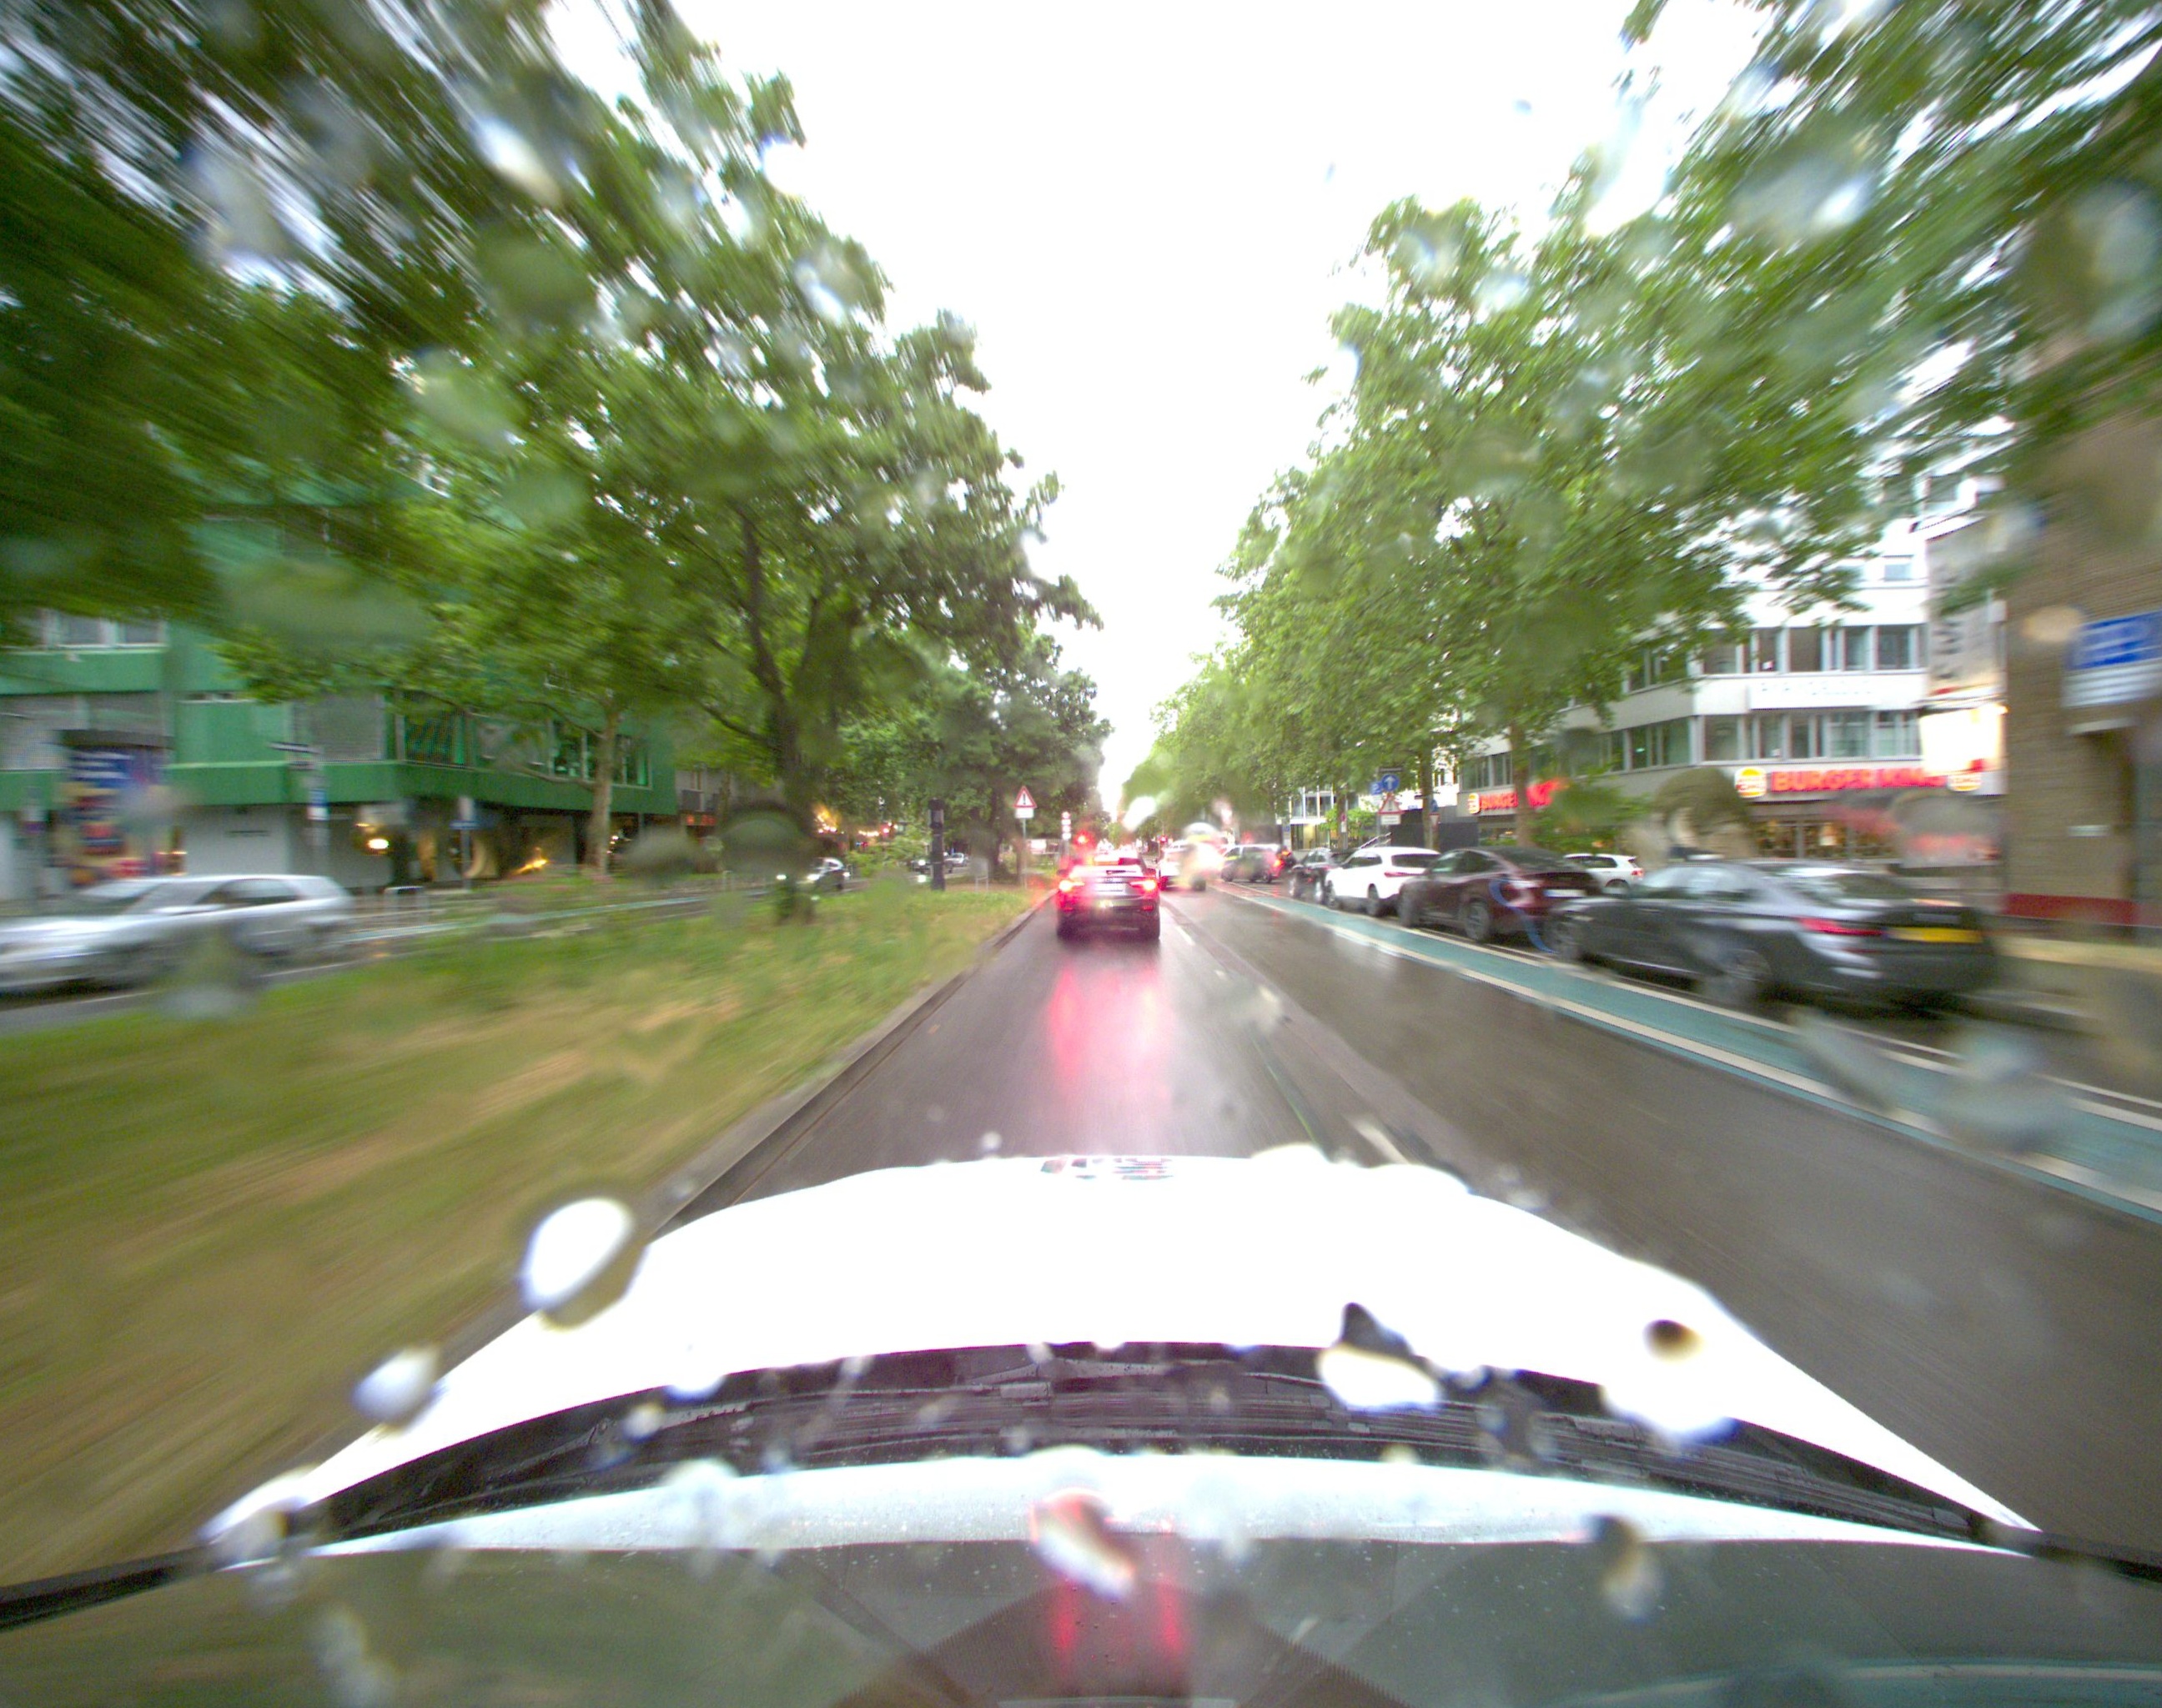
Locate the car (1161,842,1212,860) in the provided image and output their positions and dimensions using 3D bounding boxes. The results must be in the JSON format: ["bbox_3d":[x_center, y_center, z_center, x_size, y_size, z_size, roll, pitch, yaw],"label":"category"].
[{"bbox_3d":[10.475,-0.303,81.163,4.595,1.706,2.012,0,0,29],"label":"car"}]

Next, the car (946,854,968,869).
[{"bbox_3d":[-13.610,0.823,89.740,1.719,1.518,4.002,0,0,2],"label":"car"}]

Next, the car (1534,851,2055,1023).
[{"bbox_3d":[7.216,0.691,9.078,1.866,1.421,4.612,0,0,1],"label":"car"}]

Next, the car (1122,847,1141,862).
[{"bbox_3d":[5.667,0.082,91.733,1.986,1.651,4.001,0,0,2],"label":"car"}]

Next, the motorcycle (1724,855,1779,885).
[{"bbox_3d":[23.553,0.554,28.615,1.421,1.030,0.620,0,-1,-1],"label":"motorcycle"}]

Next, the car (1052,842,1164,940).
[{"bbox_3d":[0.469,0.608,15.501,1.843,1.602,4.000,-1,0,0],"label":"car"}]

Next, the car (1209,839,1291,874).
[{"bbox_3d":[10.350,0.152,50.009,4.548,2.014,1.980,0,-1,39],"label":"car"}]

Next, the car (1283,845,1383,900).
[{"bbox_3d":[7.449,0.522,24.468,1.691,1.523,4.021,0,0,-2],"label":"car"}]

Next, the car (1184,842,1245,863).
[{"bbox_3d":[10.993,-0.139,67.110,4.595,1.706,2.012,0,0,29],"label":"car"}]

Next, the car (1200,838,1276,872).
[{"bbox_3d":[10.924,0.076,56.773,4.834,2.254,2.012,0,-1,30],"label":"car"}]

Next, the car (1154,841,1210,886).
[{"bbox_3d":[4.027,0.382,33.087,1.871,1.697,4.001,0,0,1],"label":"car"}]

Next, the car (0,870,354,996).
[{"bbox_3d":[-12.954,0.984,11.600,1.642,1.435,3.814,-1,0,2],"label":"car"}]

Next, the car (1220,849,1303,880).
[{"bbox_3d":[8.395,0.470,38.135,1.568,1.378,3.831,1,0,-31],"label":"car"}]

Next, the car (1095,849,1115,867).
[{"bbox_3d":[2.460,0.416,83.355,1.987,1.726,4.000,0,0,1],"label":"car"}]

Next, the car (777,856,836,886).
[{"bbox_3d":[-11.961,0.708,35.681,1.687,1.258,3.636,0,0,-7],"label":"car"}]

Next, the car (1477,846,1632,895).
[{"bbox_3d":[15.819,0.515,27.463,4.211,1.567,2.065,0,0,18],"label":"car"}]

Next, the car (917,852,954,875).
[{"bbox_3d":[-11.102,0.693,62.473,1.753,1.703,4.337,0,0,4],"label":"car"}]

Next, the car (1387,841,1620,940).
[{"bbox_3d":[7.356,0.575,14.799,1.861,1.520,4.558,0,0,0],"label":"car"}]

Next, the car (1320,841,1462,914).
[{"bbox_3d":[7.274,0.524,19.560,1.723,1.571,4.069,0,0,-3],"label":"car"}]

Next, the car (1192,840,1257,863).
[{"bbox_3d":[11.167,-0.205,63.594,4.595,1.706,2.012,0,0,29],"label":"car"}]
